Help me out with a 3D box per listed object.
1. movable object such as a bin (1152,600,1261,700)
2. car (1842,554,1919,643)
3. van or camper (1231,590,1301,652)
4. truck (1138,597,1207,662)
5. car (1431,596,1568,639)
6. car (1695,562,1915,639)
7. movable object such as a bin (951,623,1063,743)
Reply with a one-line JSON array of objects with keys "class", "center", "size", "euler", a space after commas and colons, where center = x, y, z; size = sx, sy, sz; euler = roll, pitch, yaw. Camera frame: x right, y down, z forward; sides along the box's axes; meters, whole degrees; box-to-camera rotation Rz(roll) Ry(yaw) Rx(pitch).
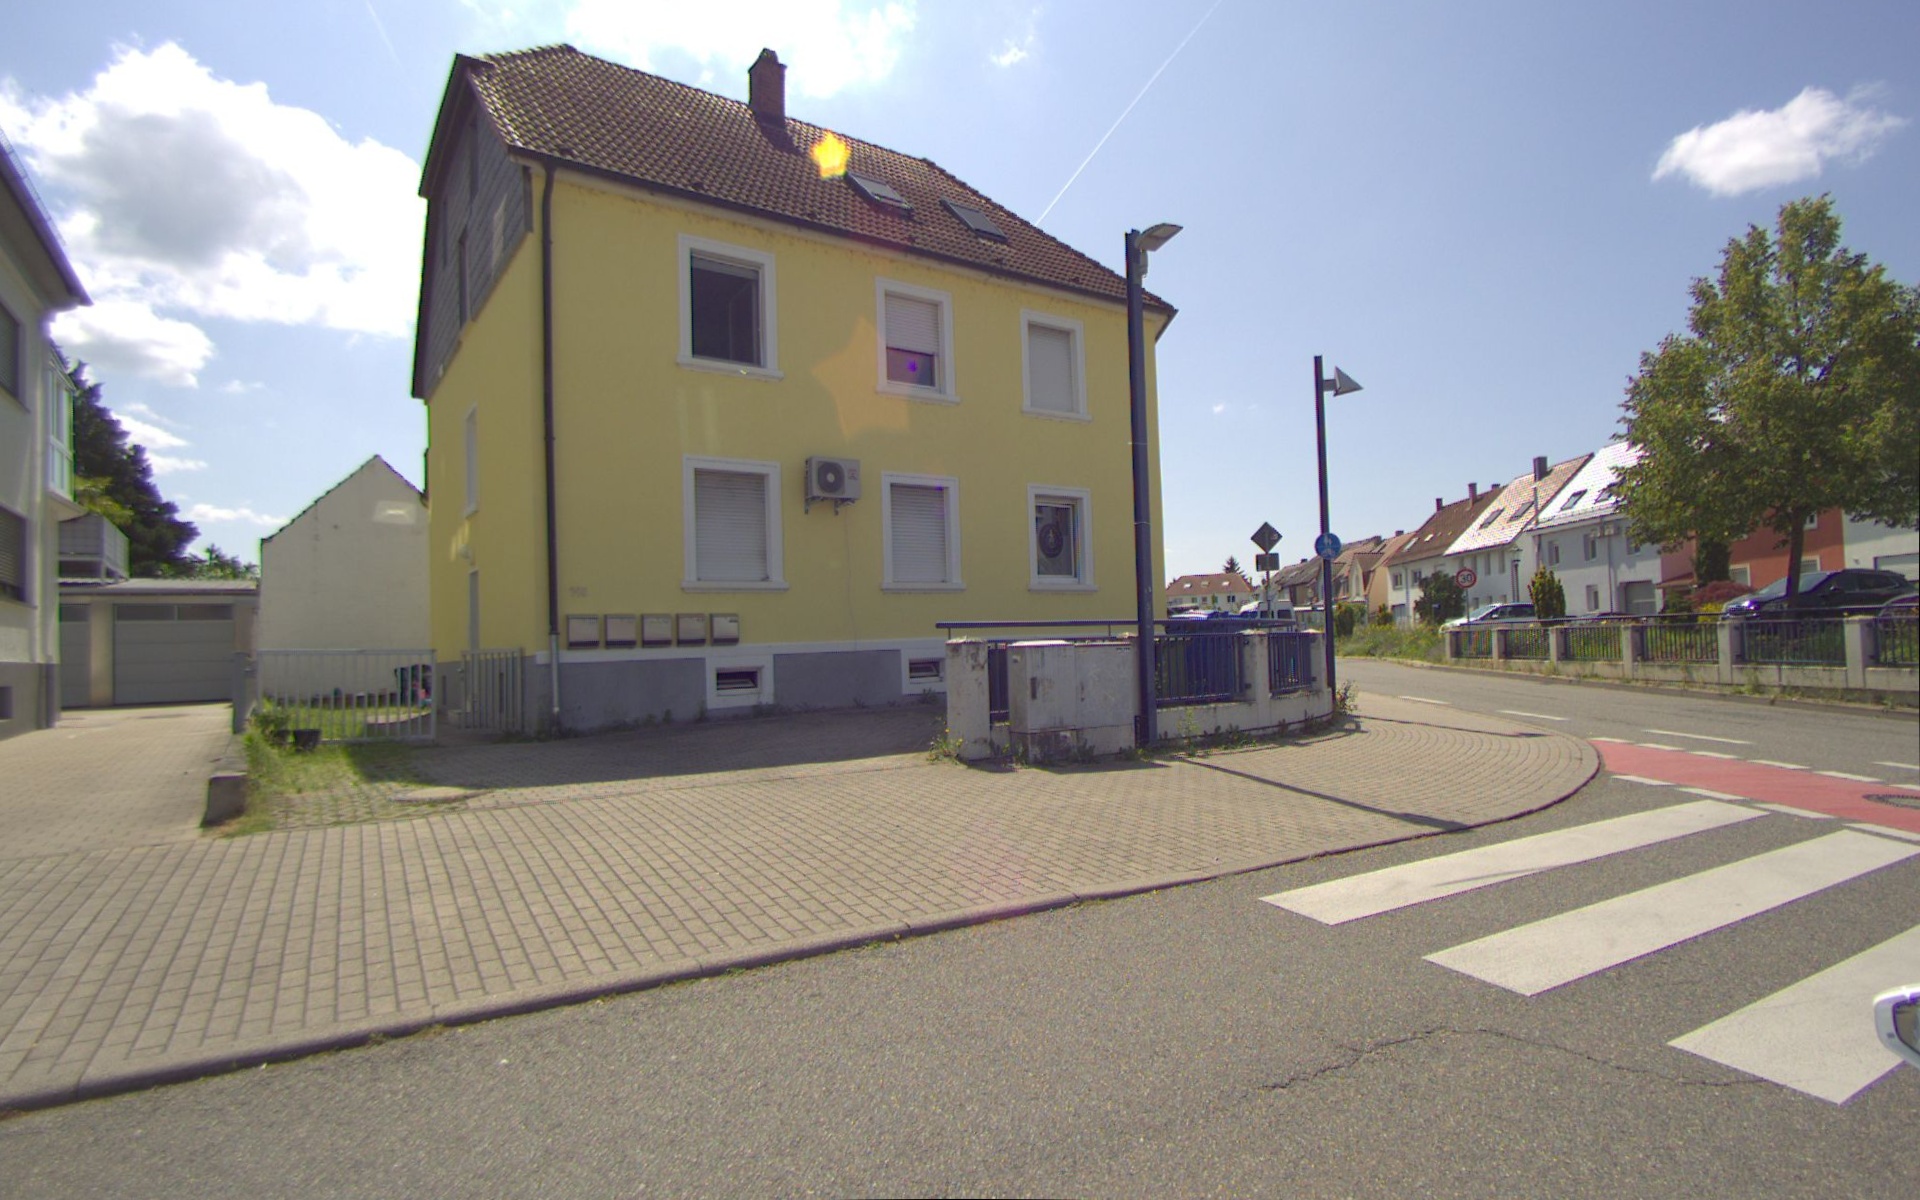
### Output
[{"class": "movable object such as a bin", "center": [3.218, 0.632, 13.065], "size": [0.831, 1.229, 1.268], "euler": [-3, -2, 44]}, {"class": "car", "center": [19.043, -0.007, 18.830], "size": [3.542, 1.608, 1.871], "euler": [1, 1, -7]}, {"class": "van or camper", "center": [14.122, 0.955, 46.677], "size": [1.964, 2.665, 5.396], "euler": [1, 0, 5]}, {"class": "truck", "center": [10.428, 1.389, 50.021], "size": [2.565, 2.915, 8.077], "euler": [-2, -1, 7]}, {"class": "car", "center": [20.133, 0.627, 37.591], "size": [4.172, 1.508, 1.747], "euler": [1, 1, 0]}, {"class": "car", "center": [18.986, 0.002, 22.662], "size": [3.542, 1.608, 1.871], "euler": [1, 1, -7]}, {"class": "movable object such as a bin", "center": [0.508, 0.887, 11.124], "size": [0.892, 1.241, 0.881], "euler": [0, -2, -31]}]
